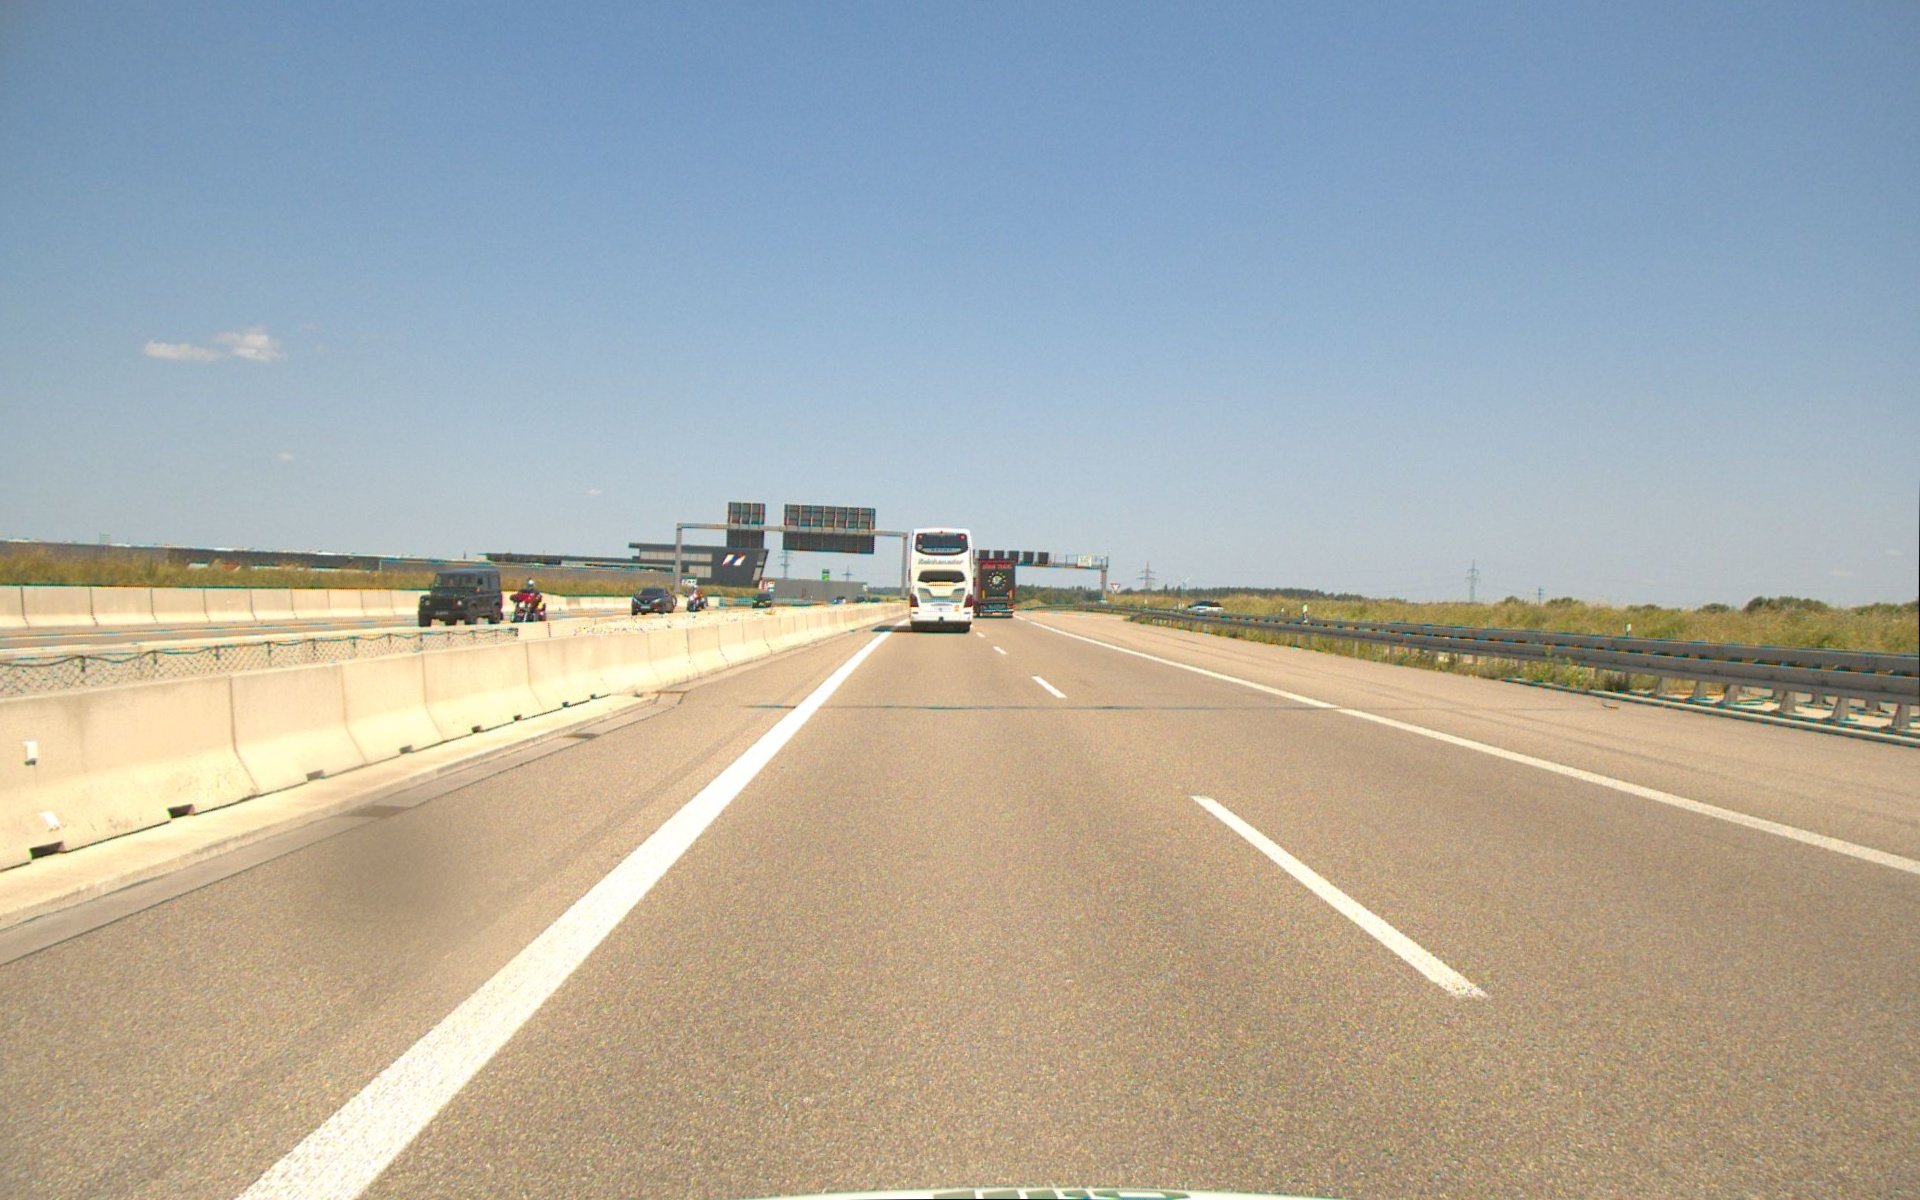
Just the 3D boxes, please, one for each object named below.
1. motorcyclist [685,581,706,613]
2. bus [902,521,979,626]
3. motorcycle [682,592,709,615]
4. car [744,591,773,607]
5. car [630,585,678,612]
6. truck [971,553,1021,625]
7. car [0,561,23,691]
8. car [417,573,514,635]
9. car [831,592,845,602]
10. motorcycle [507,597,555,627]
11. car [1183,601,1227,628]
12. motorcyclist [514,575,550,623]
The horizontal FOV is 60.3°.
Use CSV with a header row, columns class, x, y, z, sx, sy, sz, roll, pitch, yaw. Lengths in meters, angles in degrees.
class,x,y,z,sx,sy,sz,roll,pitch,yaw
motorcyclist,-13.629,-0.142,85.260,0.901,1.649,1.088,1,0,0
bus,-0.861,-1.068,68.861,2.920,4.044,9.102,1,0,-1
motorcycle,-13.631,0.174,85.331,0.938,1.189,2.722,1,0,0
car,-17.838,-0.077,146.567,1.952,1.403,4.364,1,0,1
car,-17.460,-0.099,94.439,1.831,1.517,5.138,0,0,-1
truck,2.602,-0.630,117.904,3.309,4.542,13.568,1,-2,2
car,-13.461,0.343,19.714,1.953,1.698,4.649,1,0,-1
car,-17.060,0.119,57.283,1.846,2.053,4.735,1,0,1
car,-16.955,-0.361,229.482,1.853,1.352,3.984,1,0,-2
motorcycle,-13.603,0.371,52.522,0.760,0.918,2.705,1,0,1
car,14.628,0.864,98.993,1.853,1.556,4.260,1,0,-2
motorcyclist,-13.586,-0.031,52.518,0.899,1.523,0.923,1,0,0
